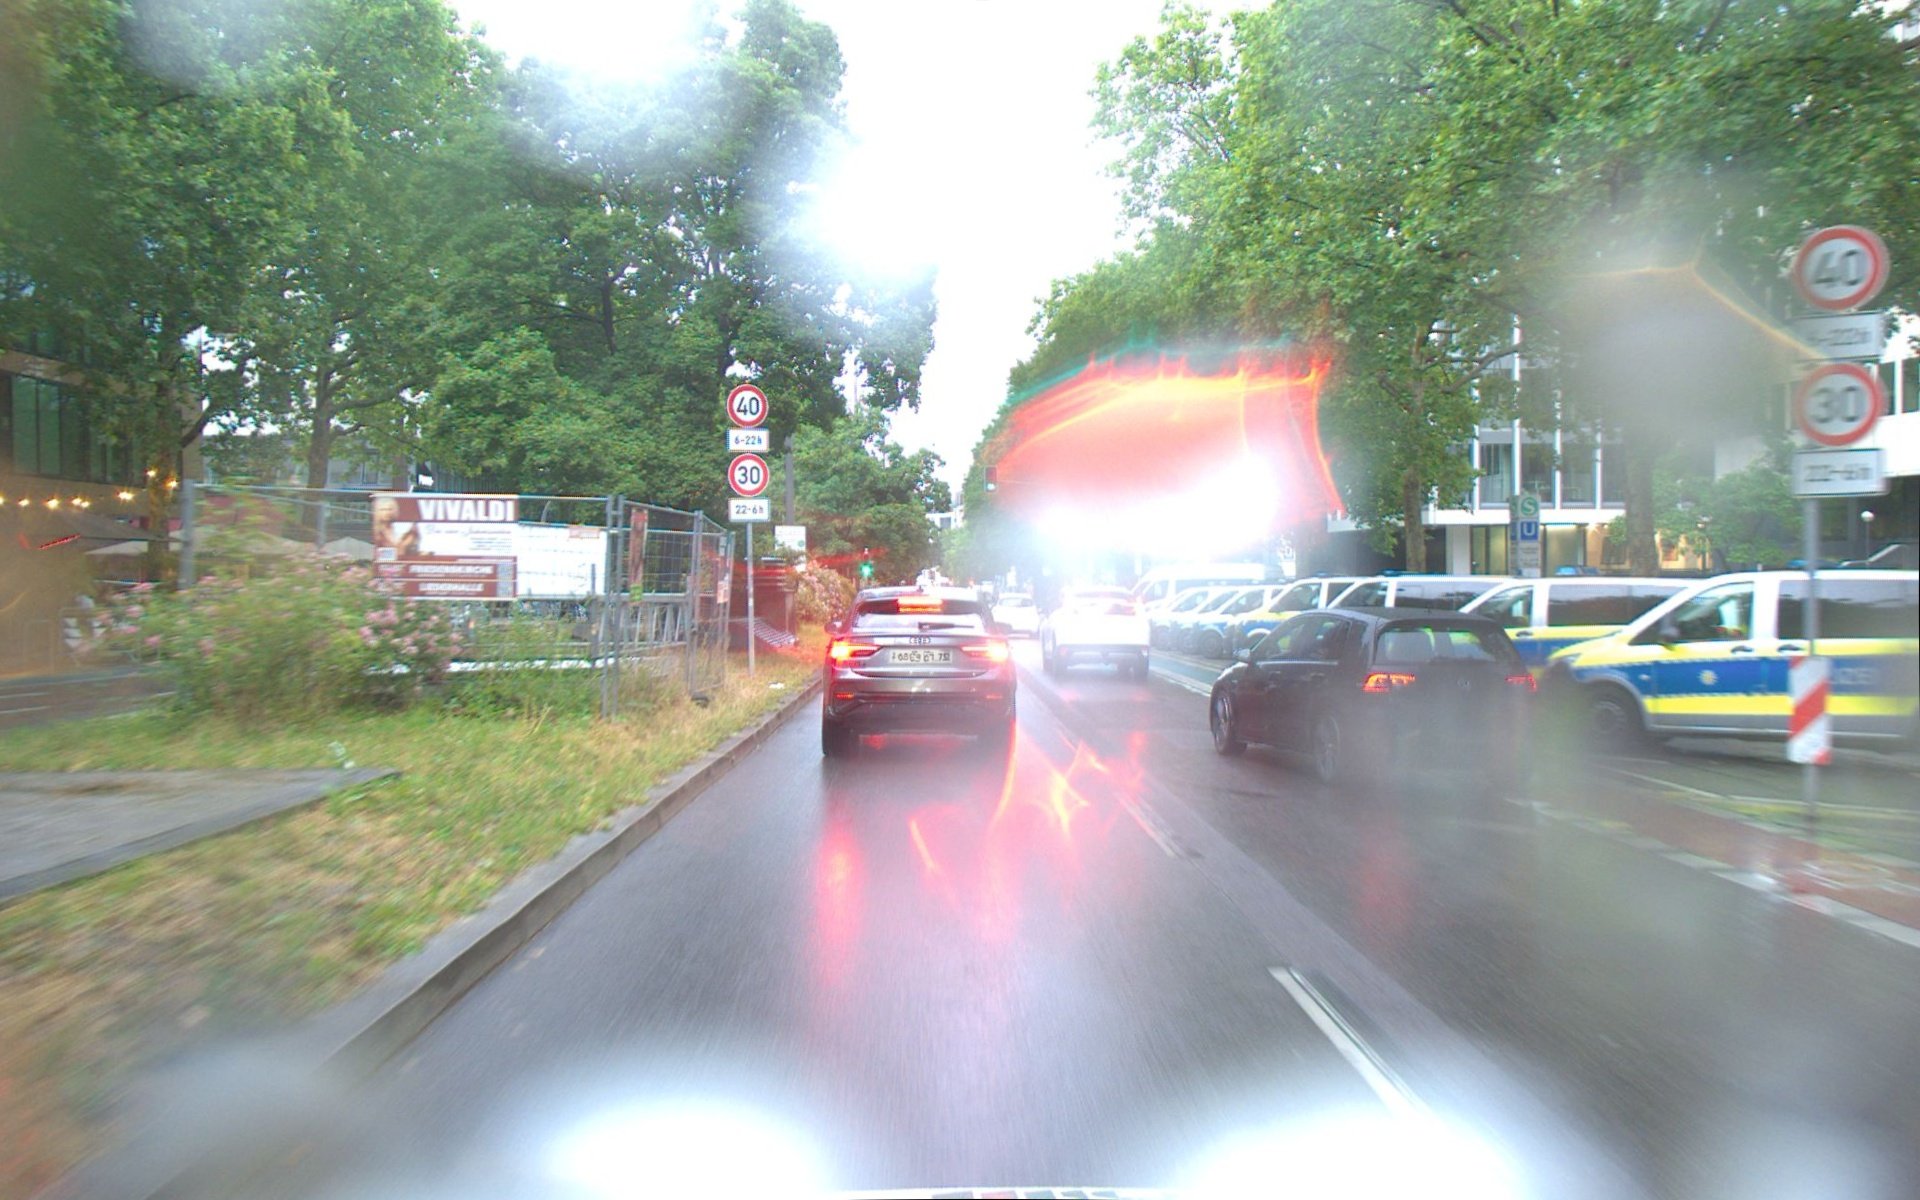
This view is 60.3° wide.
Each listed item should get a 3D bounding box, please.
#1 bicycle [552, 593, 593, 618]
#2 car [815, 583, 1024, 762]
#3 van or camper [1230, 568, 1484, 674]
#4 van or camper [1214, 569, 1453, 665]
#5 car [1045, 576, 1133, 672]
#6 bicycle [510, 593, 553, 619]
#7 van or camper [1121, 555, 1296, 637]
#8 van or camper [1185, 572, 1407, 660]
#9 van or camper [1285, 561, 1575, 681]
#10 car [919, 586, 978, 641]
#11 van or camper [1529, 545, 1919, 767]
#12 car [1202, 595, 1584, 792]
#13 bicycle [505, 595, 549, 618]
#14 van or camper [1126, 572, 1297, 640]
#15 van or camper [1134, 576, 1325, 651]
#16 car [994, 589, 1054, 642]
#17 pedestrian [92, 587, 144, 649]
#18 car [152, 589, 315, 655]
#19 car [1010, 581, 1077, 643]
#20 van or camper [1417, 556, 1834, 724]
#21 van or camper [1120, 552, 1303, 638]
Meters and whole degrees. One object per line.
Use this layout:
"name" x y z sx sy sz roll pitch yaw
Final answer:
"bicycle" -18.502 0.278 78.999 1.809 1.156 0.565 -1 1 -8
"car" -0.336 0.615 16.707 1.825 1.559 4.527 0 1 0
"van or camper" 8.131 0.400 34.026 4.698 2.046 1.993 0 0 35
"van or camper" 8.386 0.361 37.286 4.917 2.030 1.995 0 0 32
"car" 2.414 0.418 31.407 1.404 1.714 2.979 -1 1 -1
"bicycle" -19.042 0.264 73.514 1.810 1.117 0.613 0 0 -9
"van or camper" 8.556 -0.143 57.326 5.701 2.724 2.139 0 0 37
"van or camper" 8.286 0.347 40.996 5.007 2.060 2.097 0 0 37
"van or camper" 8.500 0.335 30.132 4.757 2.033 1.861 0 0 36
"car" -0.376 0.373 49.812 1.687 1.605 3.961 0 1 -1
"van or camper" 8.474 0.503 16.601 4.850 2.027 1.994 1 0 37
"car" 3.600 0.695 14.540 1.733 1.437 3.990 -1 1 -10
"bicycle" -19.024 0.297 72.664 1.808 0.996 0.565 0 0 -4
"van or camper" 7.809 0.199 51.522 4.914 2.049 1.993 0 -1 35
"van or camper" 7.788 0.363 47.964 5.101 2.027 1.994 1 0 34
"car" 2.247 0.520 59.217 1.953 1.780 4.000 0 1 -1
"pedestrian" -19.453 0.405 38.225 0.748 1.404 0.932 0 0 -4
"car" -16.474 0.452 37.768 1.788 1.419 4.483 0 0 -1
"car" 2.479 0.325 49.927 1.785 1.780 4.000 0 1 -1
"van or camper" 9.071 0.463 22.740 4.986 2.054 1.990 2 0 36
"van or camper" 8.250 -0.167 54.519 5.693 2.727 1.993 0 0 35
